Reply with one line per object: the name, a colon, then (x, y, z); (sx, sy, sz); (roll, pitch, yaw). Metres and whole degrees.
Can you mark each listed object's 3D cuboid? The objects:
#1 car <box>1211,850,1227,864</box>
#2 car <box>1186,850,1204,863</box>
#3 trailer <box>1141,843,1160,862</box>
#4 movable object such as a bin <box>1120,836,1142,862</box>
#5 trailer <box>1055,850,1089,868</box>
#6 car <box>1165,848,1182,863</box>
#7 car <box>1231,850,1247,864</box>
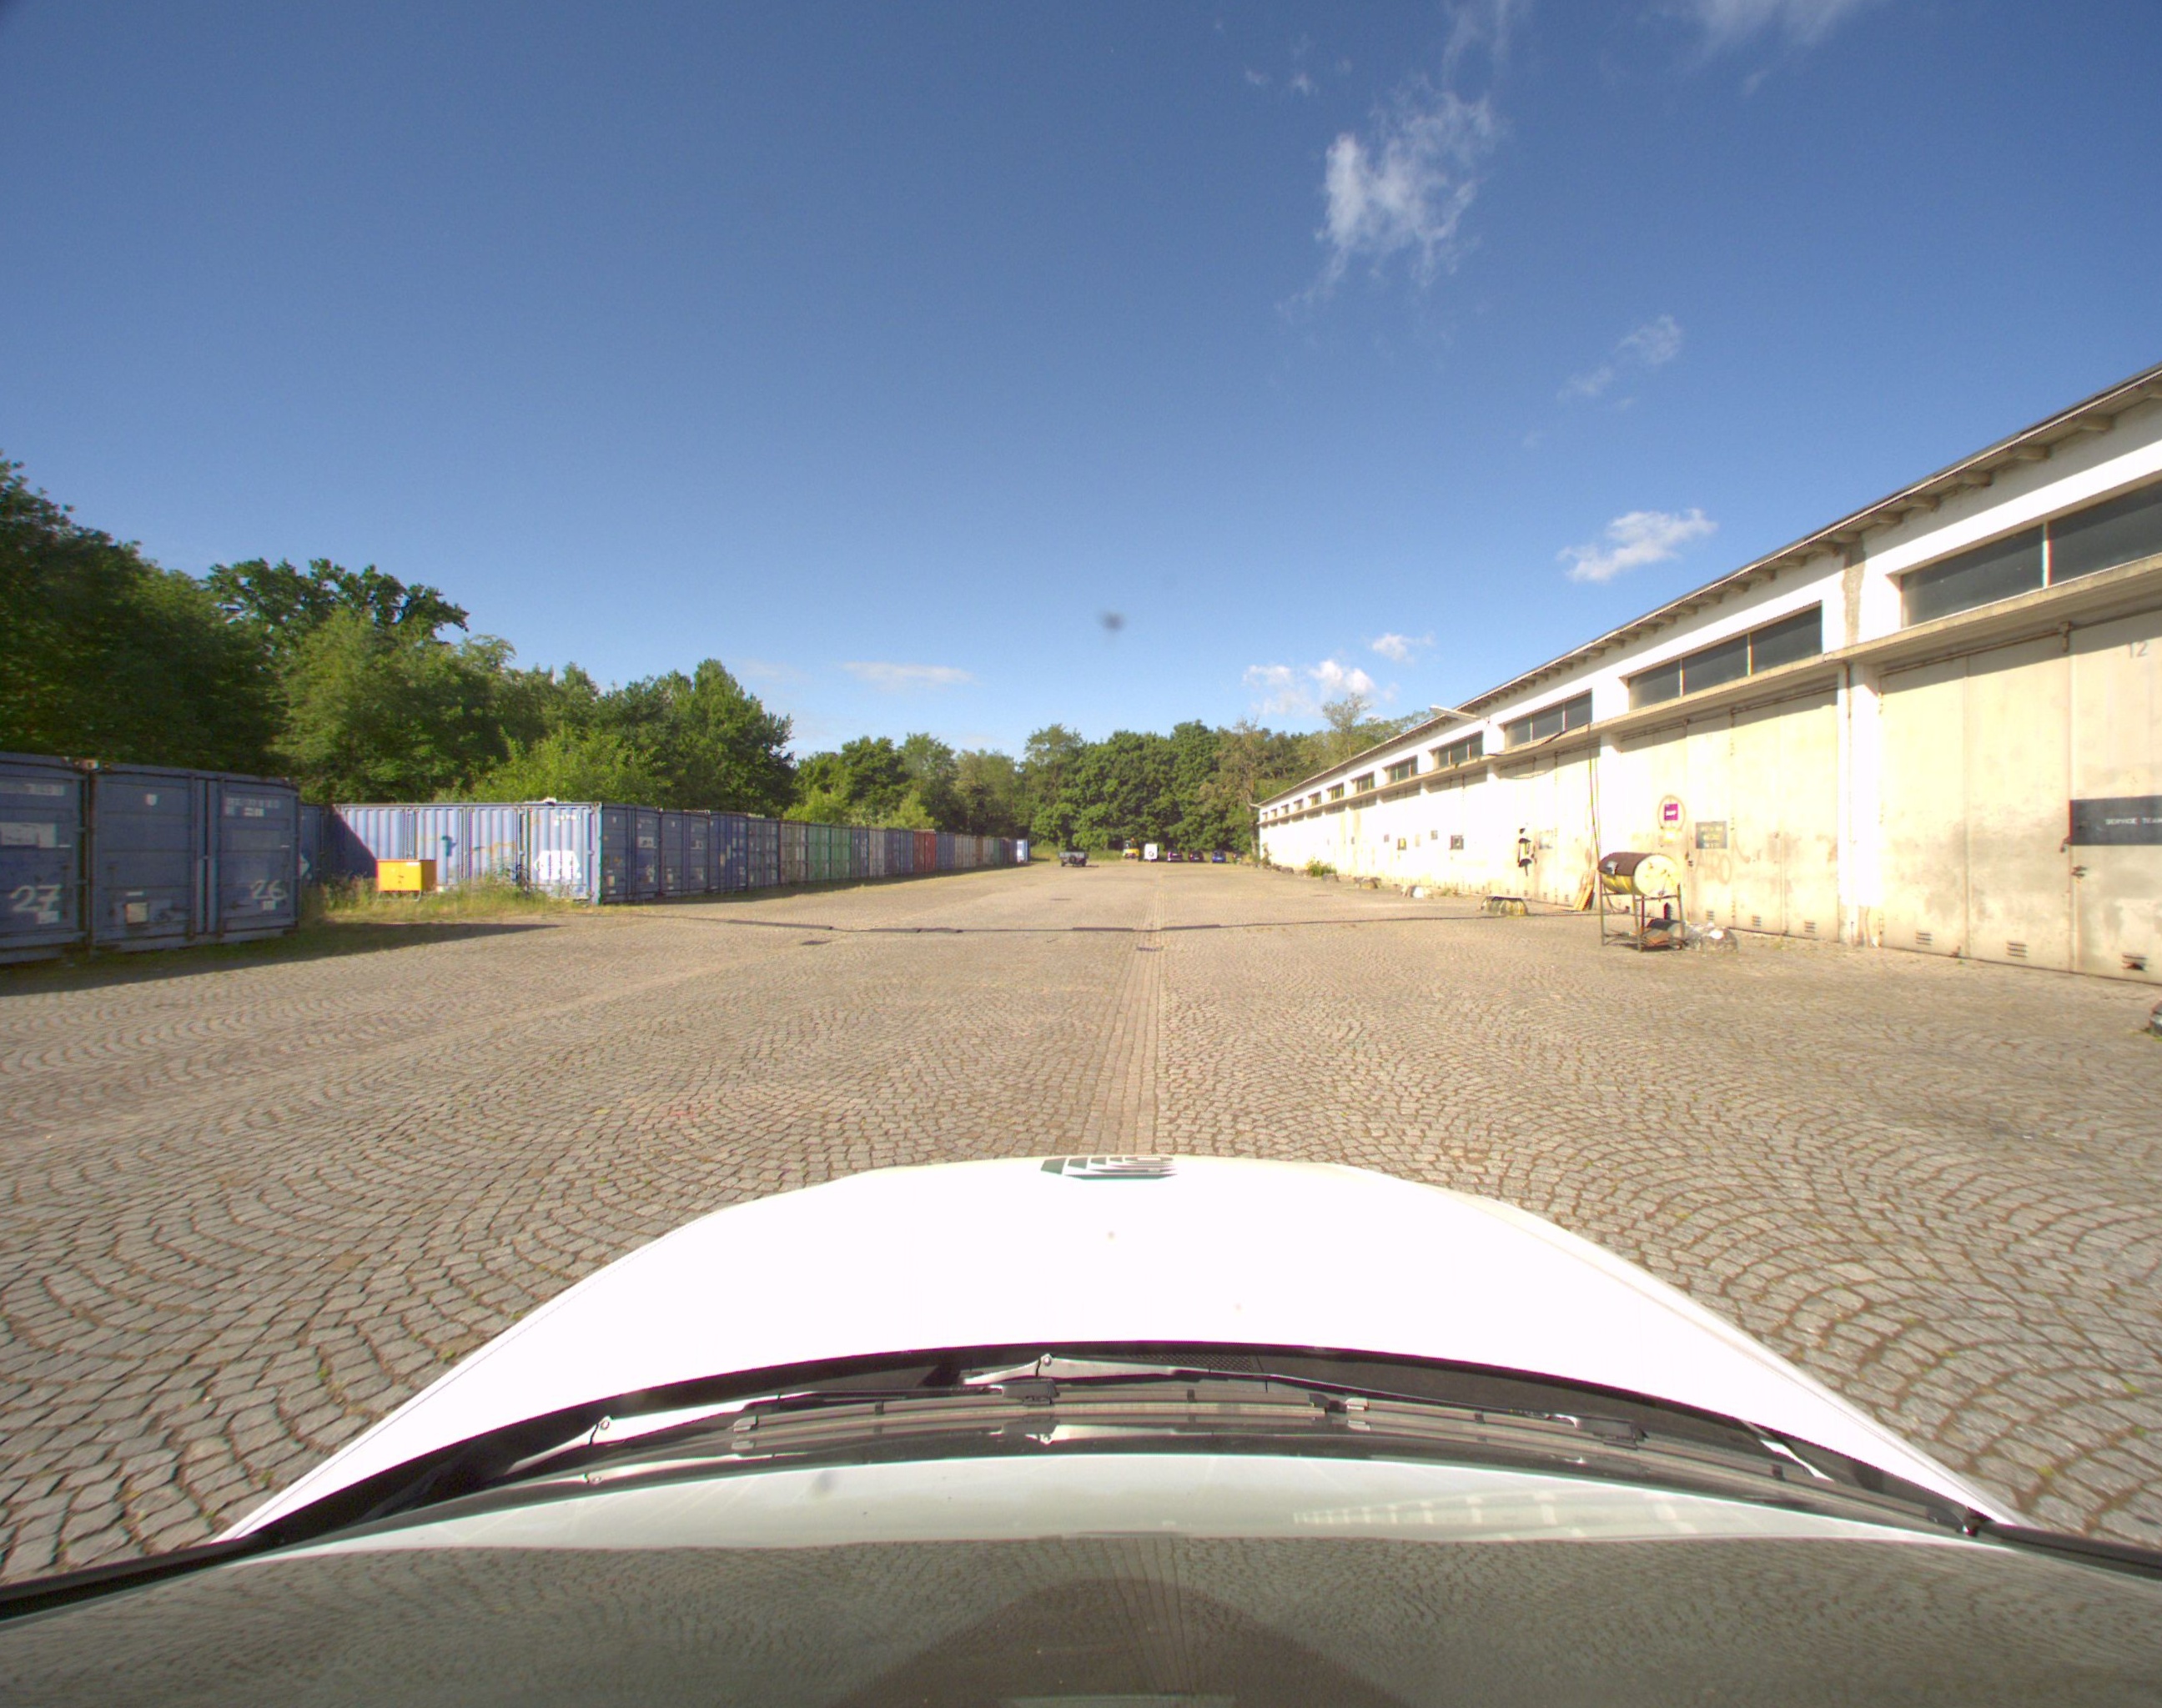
car: (16.038, 0.318, 94.608); (1.733, 1.436, 4.196); (1, 2, 11)
car: (13.300, 0.272, 94.911); (1.854, 1.470, 4.303); (1, 2, 5)
trailer: (8.349, -0.242, 97.368); (2.182, 2.094, 5.760); (1, 2, 5)
movable object such as a bin: (6.049, -0.666, 98.166); (2.294, 2.896, 5.762); (1, 1, 6)
trailer: (-0.794, 0.448, 77.975); (2.693, 1.465, 6.255); (1, 1, 4)
car: (10.794, 0.182, 94.761); (1.854, 1.589, 4.303); (1, 2, 5)
car: (18.609, 0.310, 95.798); (1.732, 1.436, 4.198); (1, 2, 12)
